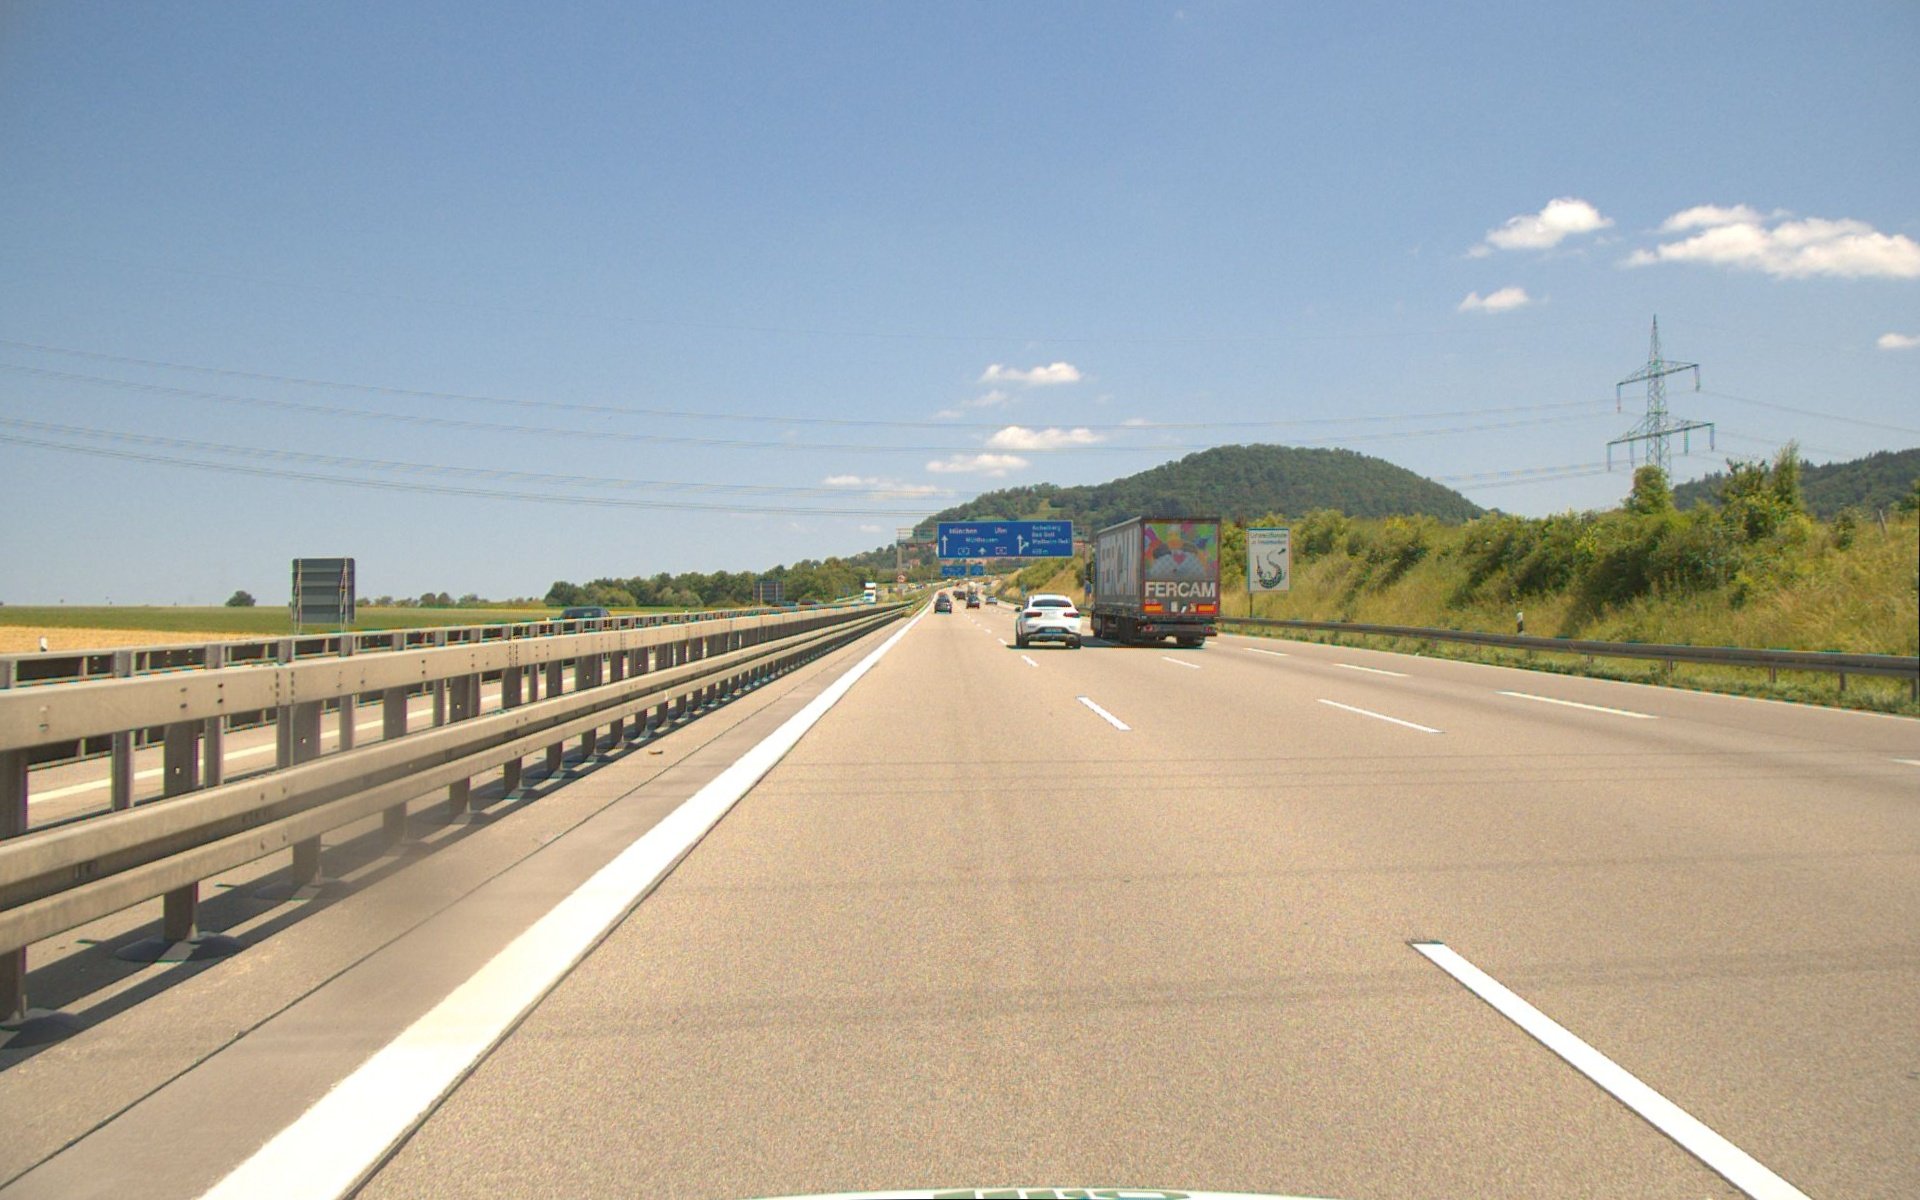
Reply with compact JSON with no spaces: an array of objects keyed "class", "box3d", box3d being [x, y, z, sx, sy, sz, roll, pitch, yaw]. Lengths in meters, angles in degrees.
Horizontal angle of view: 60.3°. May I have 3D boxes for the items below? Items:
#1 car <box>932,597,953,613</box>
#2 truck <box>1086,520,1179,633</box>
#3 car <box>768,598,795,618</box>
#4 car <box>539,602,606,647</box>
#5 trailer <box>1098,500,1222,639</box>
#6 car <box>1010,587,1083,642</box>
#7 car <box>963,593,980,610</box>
[{"class":"car","box3d":[-1.636,0.490,158.212,1.953,1.413,4.000,1,0,0]},{"class":"truck","box3d":[6.569,-0.858,63.987,2.696,4.091,6.786,1,0,-1]},{"class":"car","box3d":[-14.028,0.628,130.203,1.637,1.465,4.564,-3,-1,-1]},{"class":"car","box3d":[-13.113,0.822,56.124,1.452,1.450,3.608,1,0,-1]},{"class":"trailer","box3d":[6.650,-0.924,56.754,2.670,4.227,11.806,1,0,-1]},{"class":"car","box3d":[2.640,0.437,51.612,1.875,1.608,5.229,1,0,-1]},{"class":"car","box3d":[1.400,0.167,203.537,1.953,2.049,4.000,1,0,0]}]
